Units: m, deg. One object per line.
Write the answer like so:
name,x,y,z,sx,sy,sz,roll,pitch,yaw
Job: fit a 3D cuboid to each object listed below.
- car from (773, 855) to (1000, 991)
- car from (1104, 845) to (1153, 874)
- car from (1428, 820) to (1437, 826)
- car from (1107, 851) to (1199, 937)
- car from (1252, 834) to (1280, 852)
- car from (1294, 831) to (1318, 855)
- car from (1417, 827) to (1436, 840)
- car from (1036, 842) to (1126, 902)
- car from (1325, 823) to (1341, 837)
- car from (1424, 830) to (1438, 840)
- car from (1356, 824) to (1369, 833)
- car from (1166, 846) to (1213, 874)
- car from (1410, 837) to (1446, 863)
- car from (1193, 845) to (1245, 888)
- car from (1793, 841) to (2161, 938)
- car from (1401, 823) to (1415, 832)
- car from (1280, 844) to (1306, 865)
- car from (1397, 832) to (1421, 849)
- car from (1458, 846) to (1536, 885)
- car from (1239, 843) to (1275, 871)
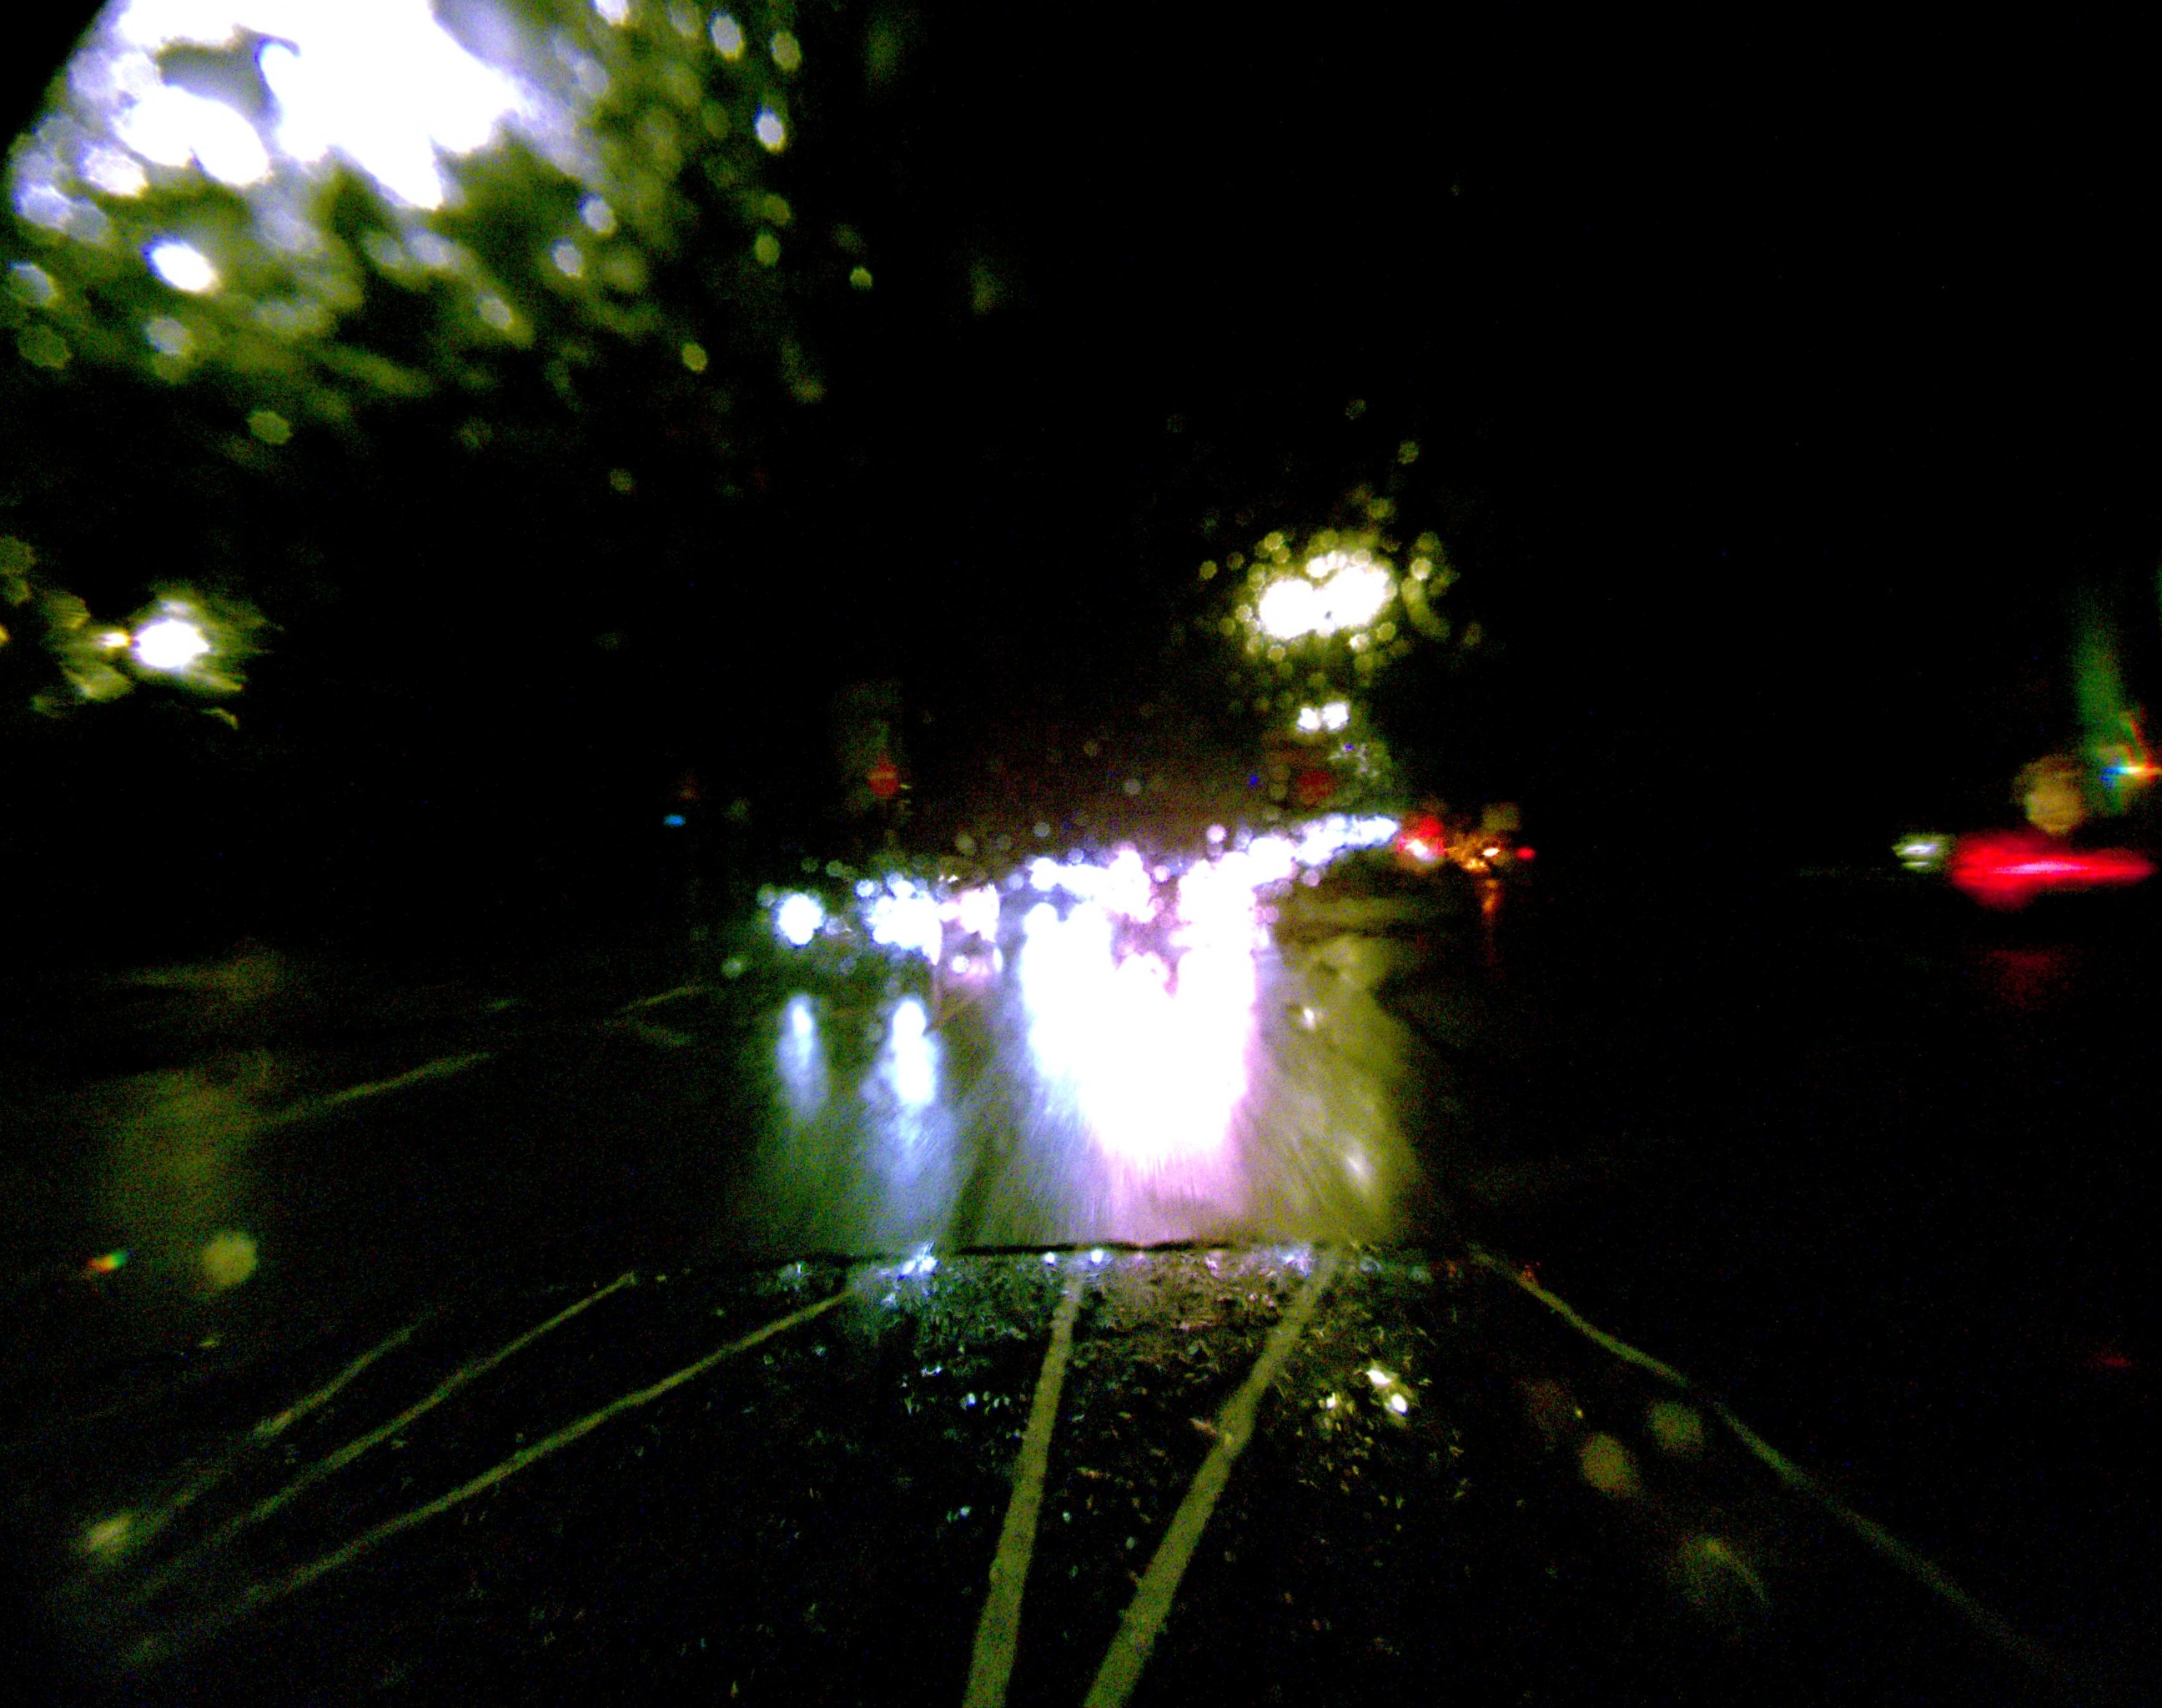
car,-2.572,0.840,11.312,1.676,1.497,4.561,-2,1,7
car,2.797,0.275,44.106,1.740,1.410,4.144,-2,2,19
car,76.034,-6.698,164.492,1.713,1.415,4.673,2,3,24
car,1.429,0.679,14.490,1.496,1.416,3.391,-2,0,7
car,18.398,-1.112,75.493,1.995,1.590,4.397,-1,3,22
car,21.548,-1.076,72.683,1.996,2.002,4.003,-2,2,18
car,41.986,-2.501,92.277,1.735,1.487,3.947,2,3,28
car,0.112,0.484,23.478,1.709,1.513,4.417,-2,2,14
car,39.365,-3.705,118.484,1.870,2.002,3.909,-2,2,25
car,56.517,-3.065,122.780,1.775,1.585,4.567,0,3,28
car,55.164,-4.962,148.669,1.995,1.670,4.005,-2,2,25
car,6.602,0.352,45.825,1.740,1.410,4.145,-2,2,24
car,20.167,-0.241,44.259,1.567,1.424,3.499,-2,0,19
car,5.562,0.464,30.437,1.604,1.417,3.392,-4,2,16
car,14.822,0.493,12.986,1.810,1.345,4.145,1,0,8
car,57.848,-4.735,134.322,1.849,1.562,3.513,-1,1,28
car,17.037,0.046,60.938,1.604,1.417,3.393,-4,2,21
car,29.490,-1.242,68.246,1.791,1.448,4.585,1,1,25
car,17.087,0.426,31.431,1.782,1.452,4.482,-2,0,15
car,10.854,0.166,46.611,1.604,1.417,3.393,-4,2,21
